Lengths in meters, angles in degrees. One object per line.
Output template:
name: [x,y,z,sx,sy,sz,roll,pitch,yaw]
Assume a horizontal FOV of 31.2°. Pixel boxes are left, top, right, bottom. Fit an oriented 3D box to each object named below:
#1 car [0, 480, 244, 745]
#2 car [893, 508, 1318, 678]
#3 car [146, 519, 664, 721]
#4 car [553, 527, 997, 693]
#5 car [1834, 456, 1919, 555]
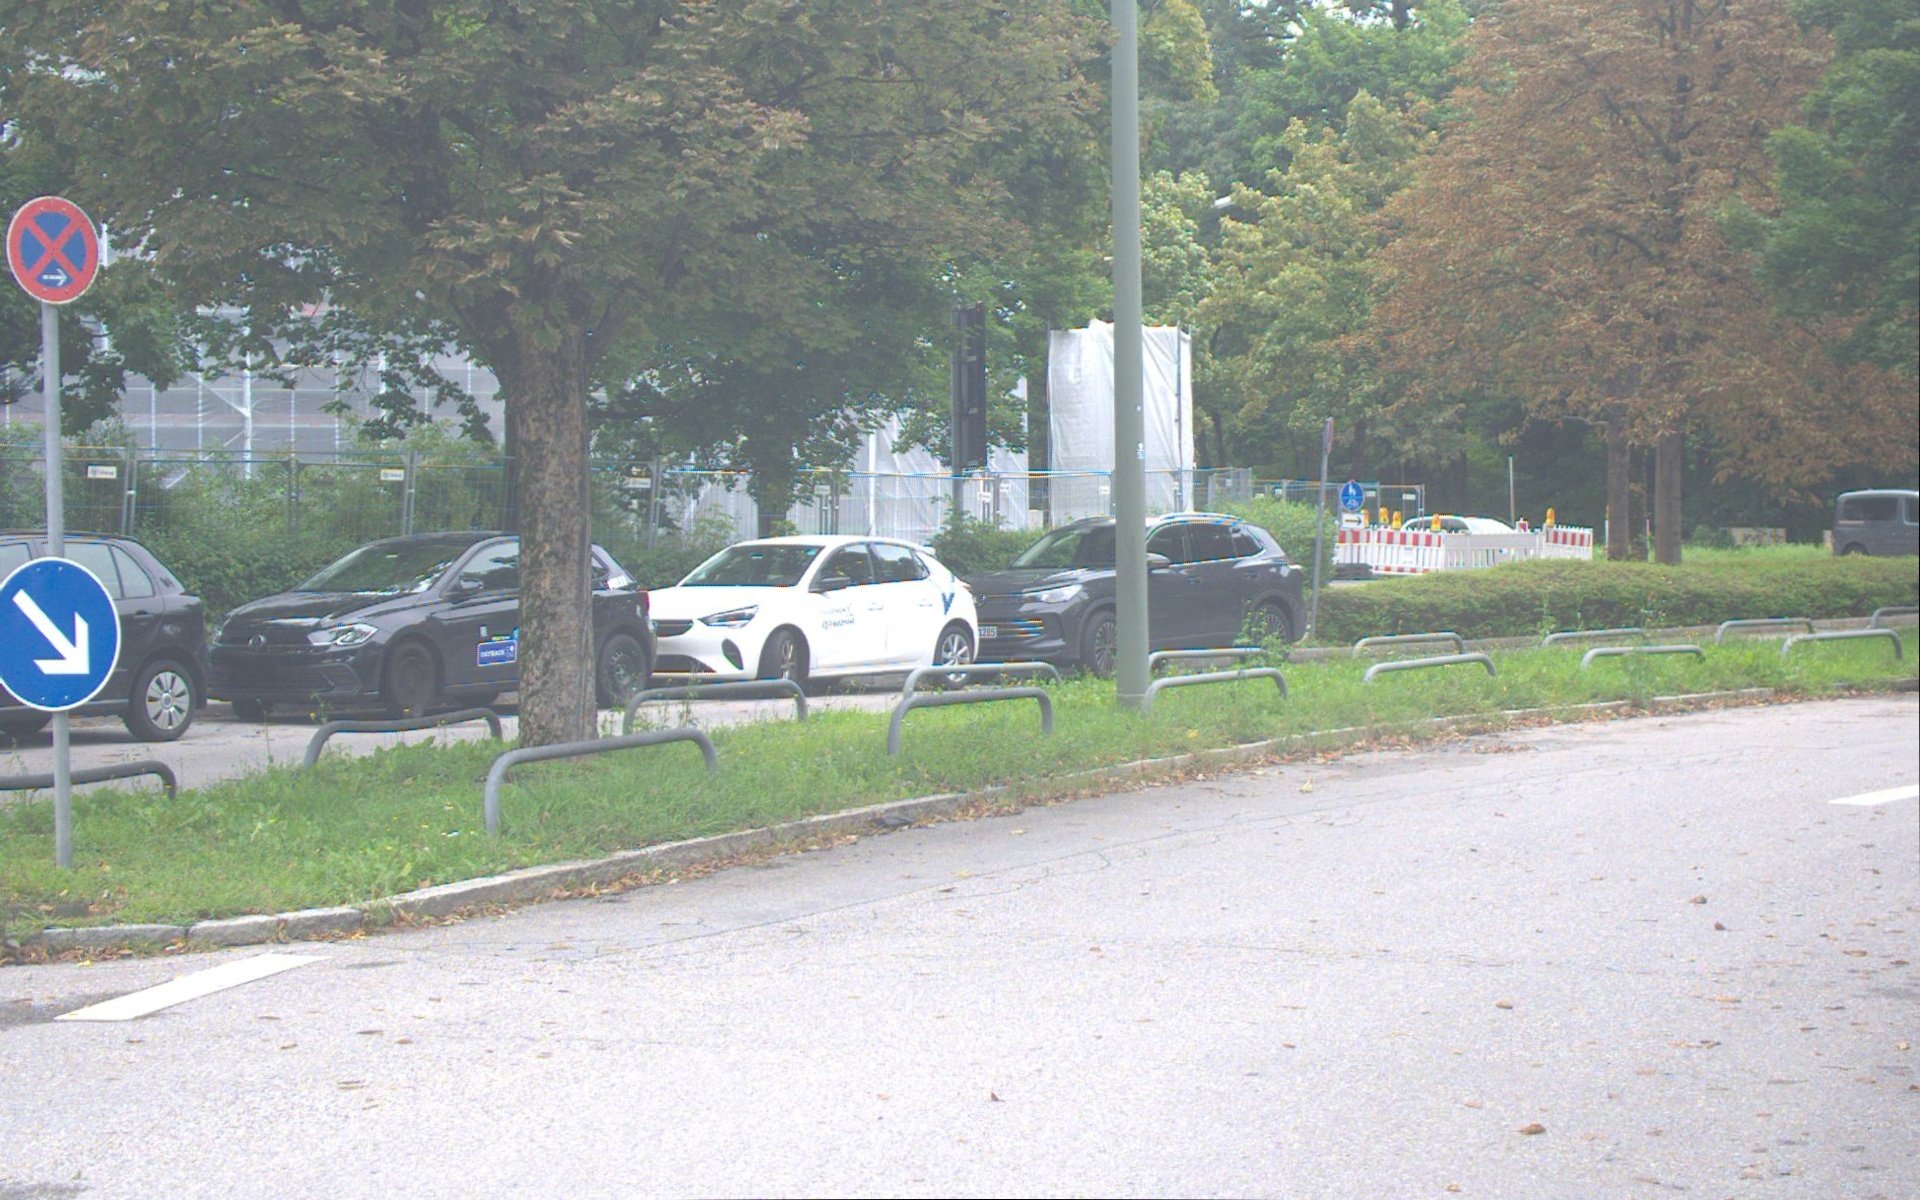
car: [-6.894,0.080,22.789,1.997,1.700,3.993,0,1,32]
car: [1.525,-0.052,34.594,1.890,1.600,4.385,0,0,42]
car: [-4.268,0.111,26.994,1.837,1.456,3.999,0,1,32]
car: [-1.586,0.050,30.945,1.799,1.379,4.210,0,1,34]
car: [20.052,-1.926,69.950,1.994,2.007,3.999,-1,2,-39]
